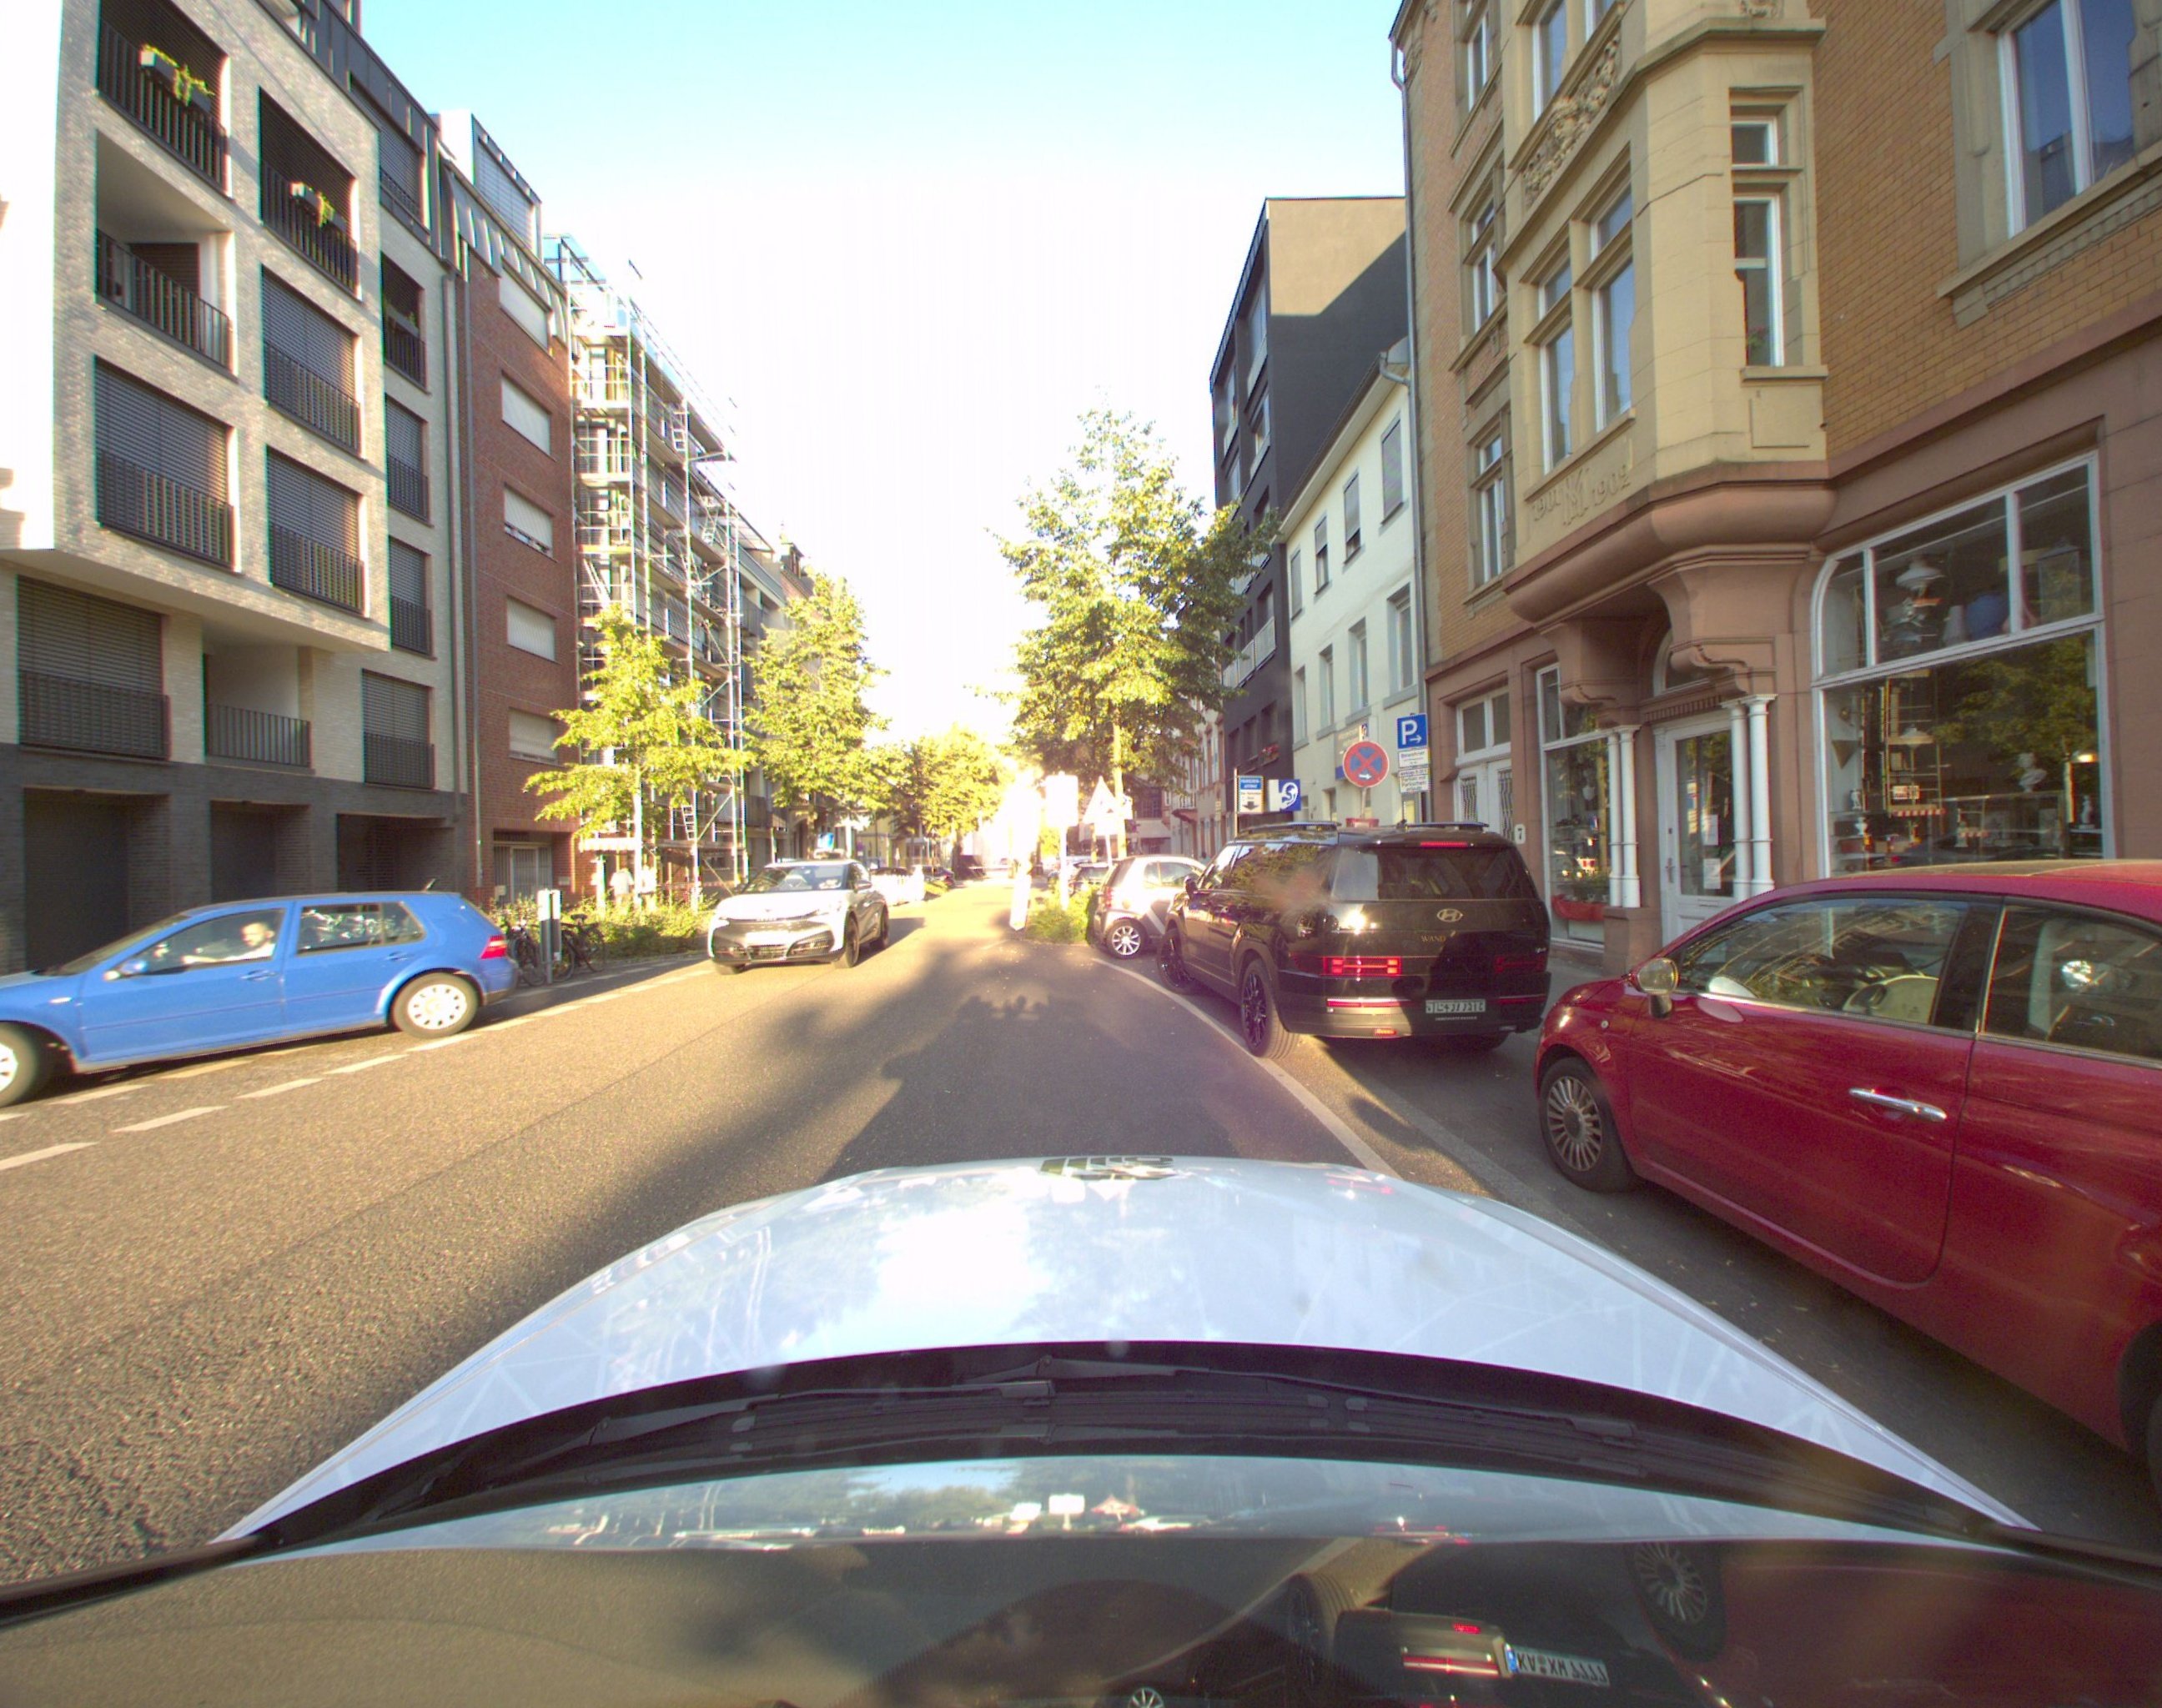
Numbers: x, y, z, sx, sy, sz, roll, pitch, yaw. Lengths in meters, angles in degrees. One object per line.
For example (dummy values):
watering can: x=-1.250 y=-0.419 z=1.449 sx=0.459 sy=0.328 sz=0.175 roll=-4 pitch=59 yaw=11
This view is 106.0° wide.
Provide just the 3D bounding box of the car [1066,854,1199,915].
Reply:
car: x=1.423 y=0.851 z=23.540 sx=3.677 sy=1.670 sz=1.856 roll=0 pitch=-1 yaw=-3

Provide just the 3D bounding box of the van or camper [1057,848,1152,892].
van or camper: x=1.085 y=0.743 z=38.991 sx=4.430 sy=2.005 sz=1.856 roll=0 pitch=-1 yaw=-3

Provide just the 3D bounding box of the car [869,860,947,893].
car: x=-9.737 y=1.261 z=46.071 sx=3.972 sy=1.684 sz=1.891 roll=-1 pitch=0 yaw=1

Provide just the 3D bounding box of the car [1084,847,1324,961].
car: x=1.900 y=0.736 z=13.010 sx=3.470 sy=1.575 sz=1.503 roll=-2 pitch=0 yaw=-10

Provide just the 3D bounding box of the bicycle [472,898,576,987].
bicycle: x=-8.303 y=1.279 z=12.213 sx=0.485 sy=1.163 sz=1.552 roll=-2 pitch=0 yaw=0

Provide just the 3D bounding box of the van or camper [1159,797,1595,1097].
van or camper: x=2.079 y=0.571 z=7.282 sx=1.887 sy=1.807 sz=4.451 roll=-1 pitch=0 yaw=-6

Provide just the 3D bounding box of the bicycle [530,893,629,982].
bicycle: x=-7.500 y=1.216 z=12.246 sx=0.505 sy=1.179 sz=1.552 roll=-2 pitch=0 yaw=0

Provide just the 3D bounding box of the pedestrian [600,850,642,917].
pedestrian: x=-12.619 y=0.796 z=22.360 sx=0.739 sy=1.783 sz=0.656 roll=-2 pitch=-1 yaw=-1

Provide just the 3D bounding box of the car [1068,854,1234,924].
car: x=1.686 y=0.842 z=20.656 sx=3.986 sy=1.670 sz=1.856 roll=0 pitch=-1 yaw=-3

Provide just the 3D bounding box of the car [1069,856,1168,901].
car: x=1.394 y=0.922 z=31.445 sx=3.677 sy=1.670 sz=1.856 roll=0 pitch=-1 yaw=-3

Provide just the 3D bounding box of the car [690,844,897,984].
car: x=-4.223 y=0.799 z=12.769 sx=1.869 sy=1.697 sz=4.315 roll=-4 pitch=0 yaw=-4

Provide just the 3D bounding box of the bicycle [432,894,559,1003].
bicycle: x=-7.525 y=1.174 z=10.551 sx=0.495 sy=1.220 sz=1.552 roll=-2 pitch=0 yaw=0

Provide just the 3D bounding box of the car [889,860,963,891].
car: x=-9.238 y=1.283 z=48.760 sx=3.972 sy=1.684 sz=1.891 roll=-1 pitch=0 yaw=1

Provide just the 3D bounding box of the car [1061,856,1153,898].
car: x=1.045 y=0.949 z=33.790 sx=3.677 sy=1.670 sz=1.856 roll=0 pitch=-1 yaw=-3

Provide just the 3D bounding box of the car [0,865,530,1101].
car: x=-7.652 y=0.991 z=7.300 sx=1.672 sy=1.563 sz=4.145 roll=-3 pitch=-1 yaw=40

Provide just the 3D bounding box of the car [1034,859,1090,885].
car: x=-1.170 y=1.130 z=51.707 sx=1.834 sy=1.568 sz=3.720 roll=-1 pitch=-1 yaw=32

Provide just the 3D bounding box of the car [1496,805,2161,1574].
car: x=2.973 y=0.680 z=2.658 sx=1.520 sy=1.570 sz=3.422 roll=-1 pitch=0 yaw=1

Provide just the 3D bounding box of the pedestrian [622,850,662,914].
pedestrian: x=-12.569 y=0.792 z=23.349 sx=0.739 sy=1.783 sz=0.656 roll=-2 pitch=-1 yaw=-3
